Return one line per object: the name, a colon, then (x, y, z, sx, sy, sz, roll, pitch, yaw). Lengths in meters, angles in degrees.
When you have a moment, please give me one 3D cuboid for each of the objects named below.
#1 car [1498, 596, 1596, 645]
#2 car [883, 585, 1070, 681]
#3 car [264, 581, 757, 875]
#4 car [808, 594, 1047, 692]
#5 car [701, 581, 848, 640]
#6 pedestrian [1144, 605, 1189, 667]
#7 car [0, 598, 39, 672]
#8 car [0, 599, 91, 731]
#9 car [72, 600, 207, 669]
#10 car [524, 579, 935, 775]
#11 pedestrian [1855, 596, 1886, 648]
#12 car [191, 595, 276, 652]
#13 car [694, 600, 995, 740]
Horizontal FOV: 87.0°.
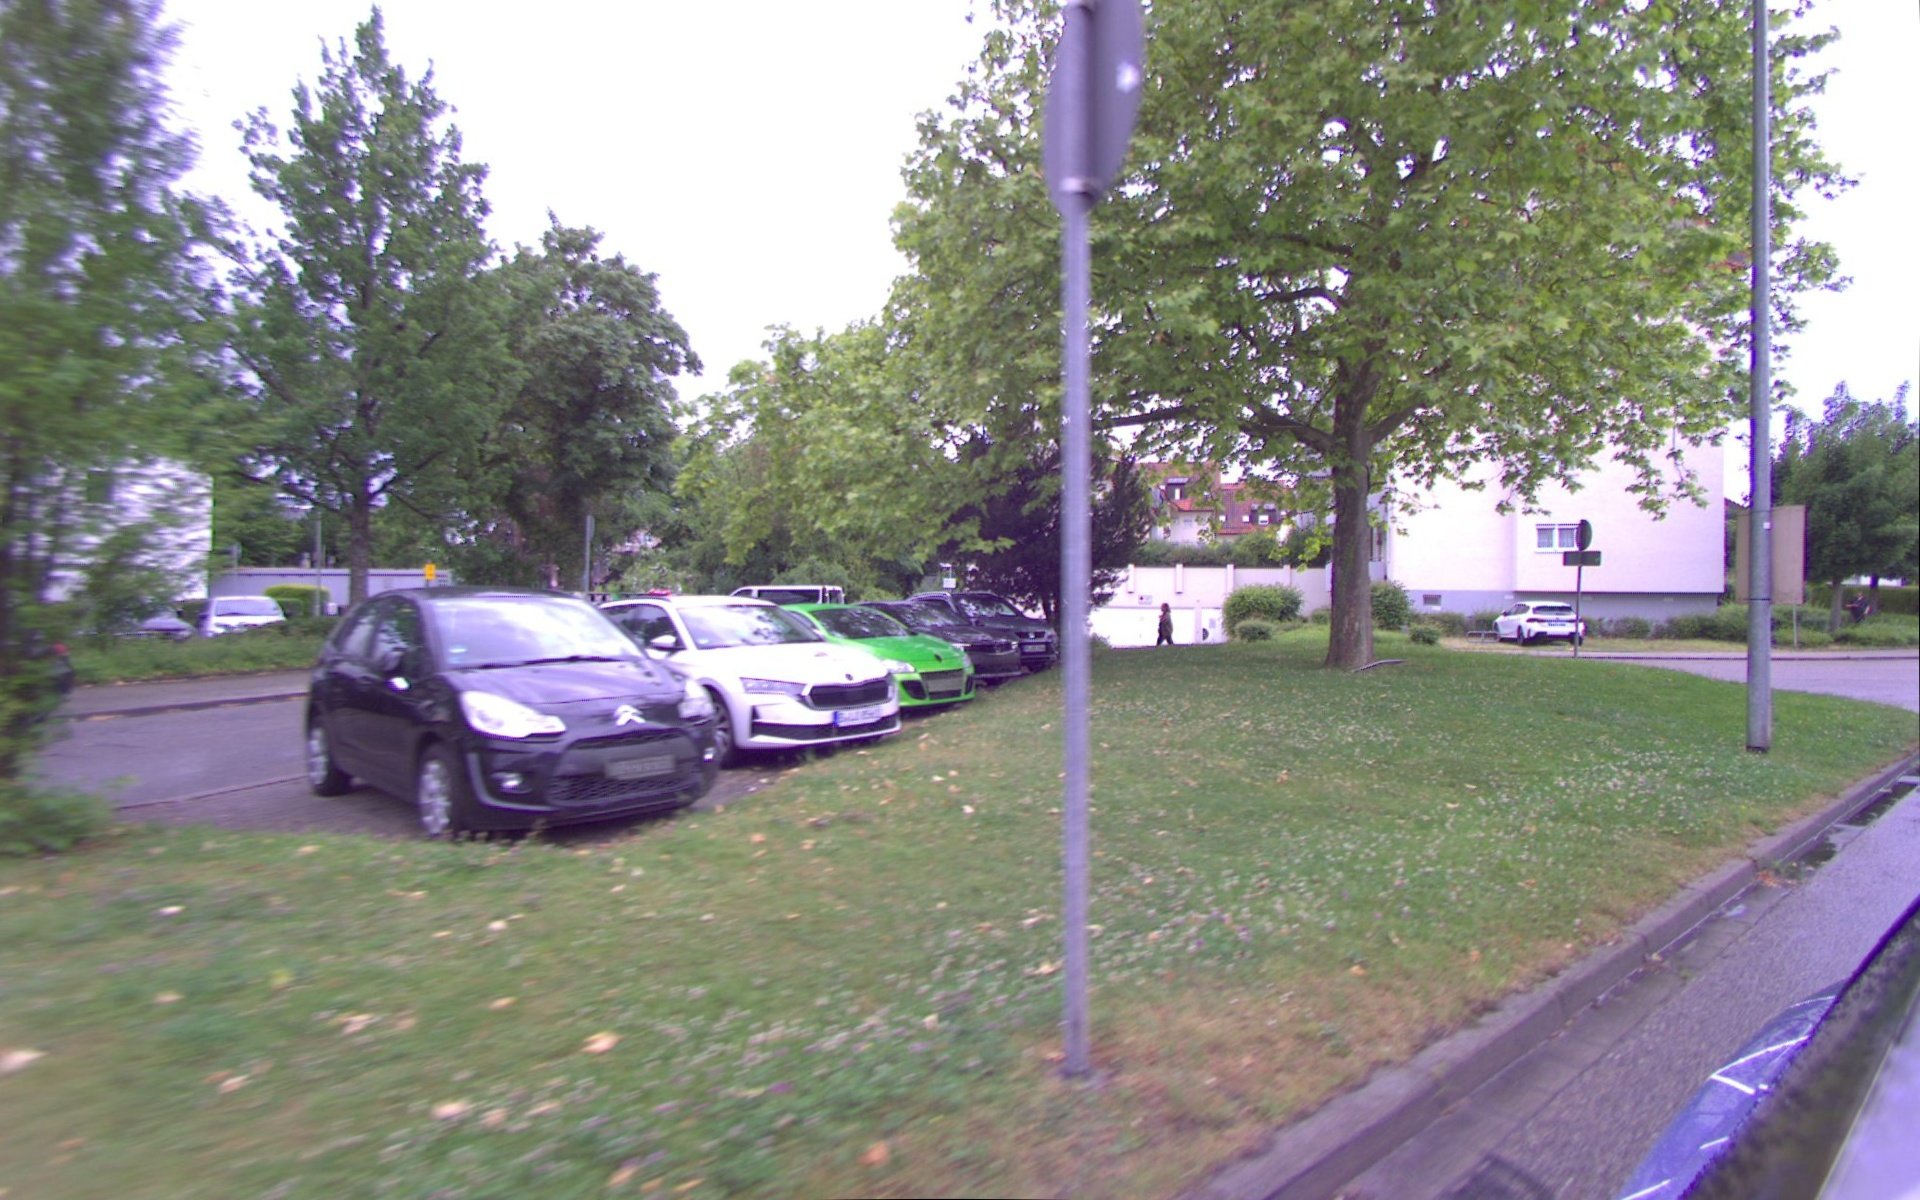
car: (19.425, 0.620, 33.655, 1.720, 1.499, 3.754, 1, 0, 13)
car: (0.192, 0.549, 19.872, 1.729, 1.647, 4.299, 1, 0, -29)
car: (-3.496, 0.615, 7.325, 4.574, 1.461, 1.736, 1, 1, 45)
car: (-0.642, 0.632, 16.964, 4.011, 1.388, 1.736, 1, 1, 45)
car: (-6.778, 0.368, 37.083, 4.929, 2.039, 2.074, 1, 0, 17)
pedestrian: (5.393, 0.925, 26.441, 0.931, 1.603, 0.739, 0, -1, -8)
car: (-17.588, 0.598, 17.909, 3.284, 1.246, 1.561, 0, 0, 42)
car: (-11.367, 0.698, 9.873, 1.740, 1.400, 4.168, 0, 0, 14)
car: (-16.314, 0.630, 20.078, 3.284, 1.246, 1.561, 0, 0, 42)
car: (-2.445, 0.549, 9.846, 4.574, 1.461, 1.736, 1, 1, 45)
pedestrian: (31.933, 0.771, 35.497, 0.609, 1.795, 0.665, 0, -1, 25)
car: (-17.286, 0.521, 24.120, 1.555, 1.246, 3.297, 0, 0, -36)
car: (-1.607, 0.762, 13.034, 4.011, 1.461, 1.736, 1, 1, 45)
